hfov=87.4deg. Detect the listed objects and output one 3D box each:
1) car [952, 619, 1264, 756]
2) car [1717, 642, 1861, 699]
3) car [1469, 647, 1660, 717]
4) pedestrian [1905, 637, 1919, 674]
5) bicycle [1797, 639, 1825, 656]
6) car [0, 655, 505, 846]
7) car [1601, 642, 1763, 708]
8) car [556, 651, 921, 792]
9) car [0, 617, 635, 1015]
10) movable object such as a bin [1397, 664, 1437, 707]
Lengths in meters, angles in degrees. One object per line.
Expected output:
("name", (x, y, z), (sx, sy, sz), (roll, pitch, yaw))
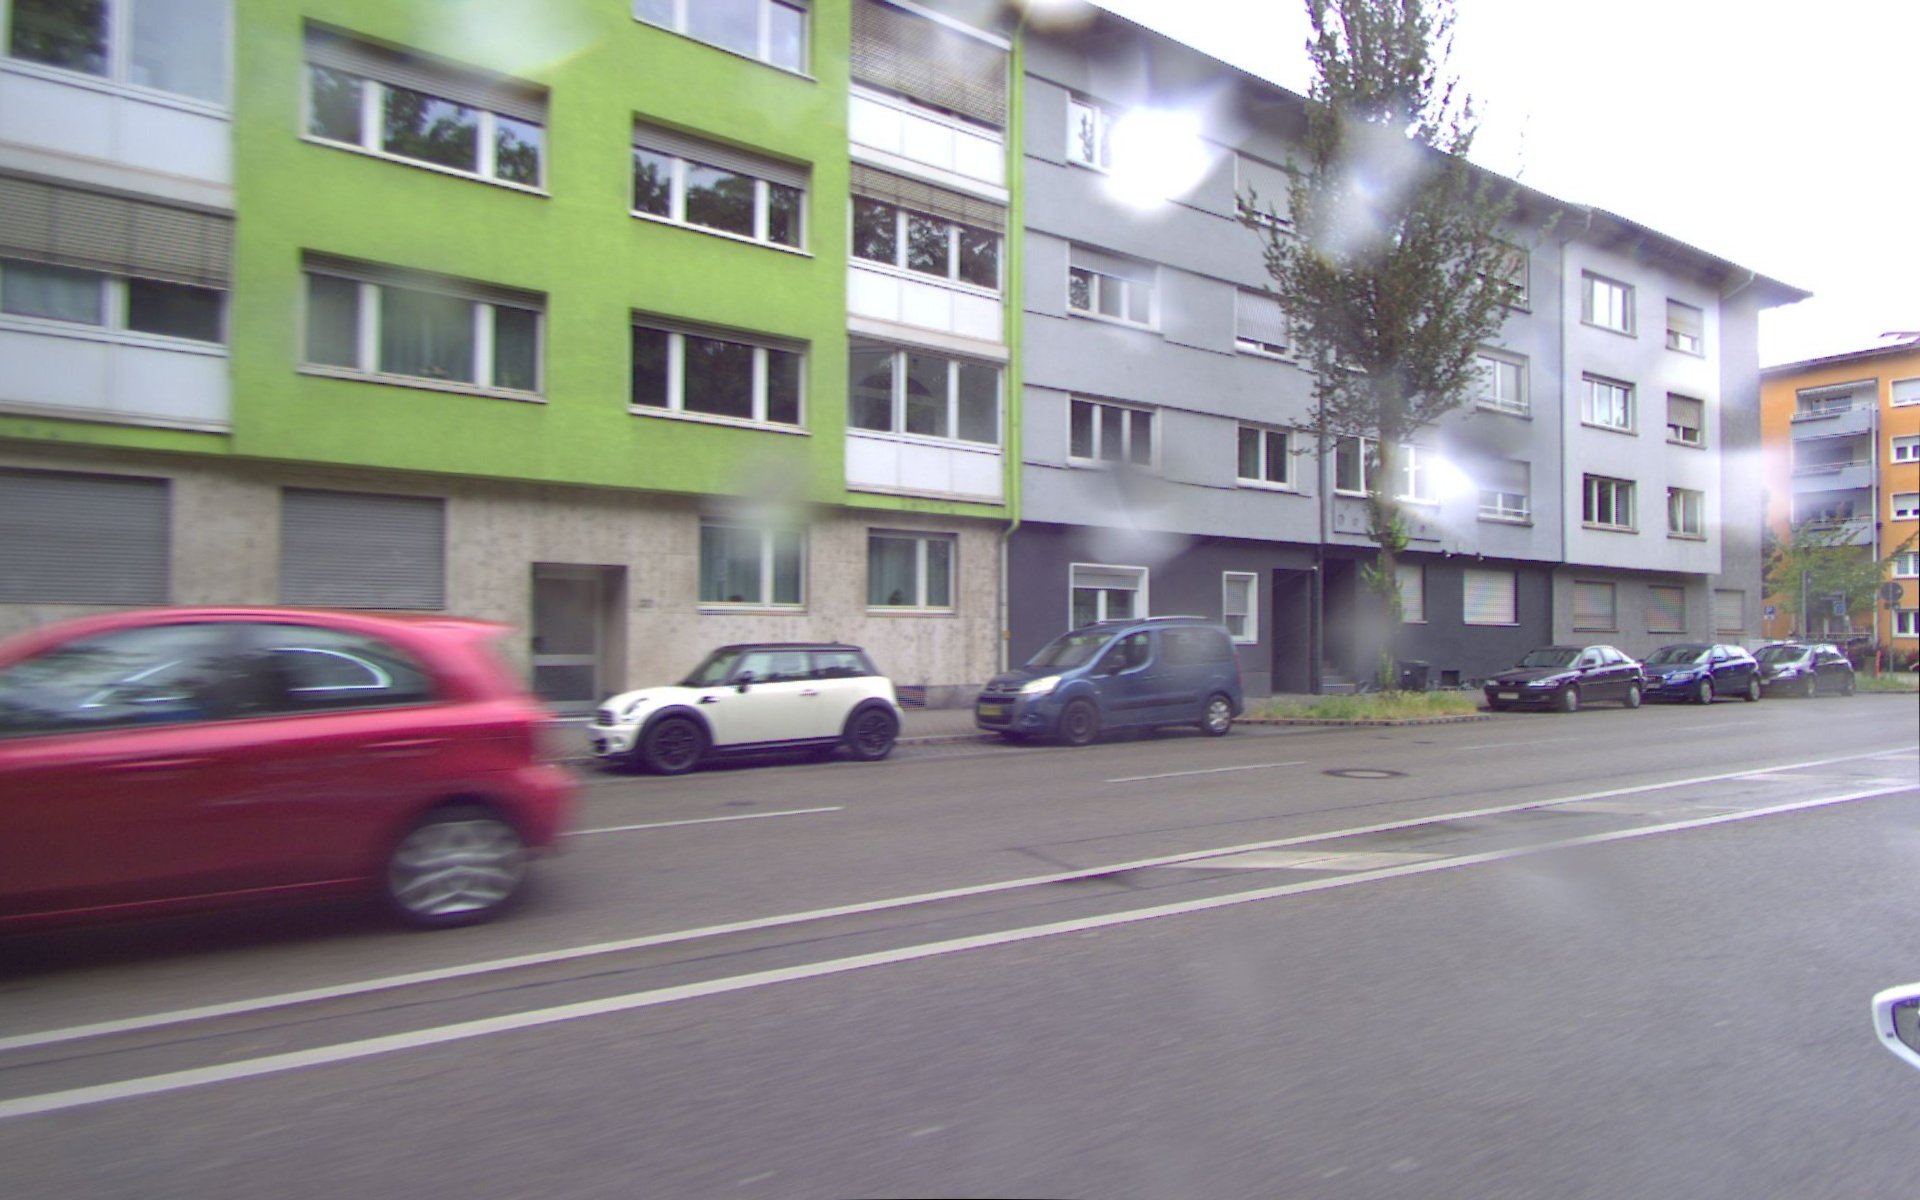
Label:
("car", (2.301, 1.249, 15.257), (4.549, 1.789, 1.881), (1, -4, -32))
("car", (22.935, 1.921, 27.767), (4.273, 1.444, 1.704), (1, -4, -31))
("car", (13.306, 1.765, 22.035), (4.528, 1.375, 1.680), (1, -5, -32))
("pedestrian", (42.470, 2.451, 44.532), (0.653, 1.625, 0.584), (1, -3, -29))
("bicycle", (38.082, 2.131, 44.949), (1.528, 0.759, 0.462), (1, -3, -29))
("car", (-6.780, 1.243, 9.085), (4.633, 1.390, 1.806), (1, -4, -35))
("car", (17.753, 1.815, 24.658), (4.227, 1.468, 1.673), (1, -5, -31))
("car", (-2.595, 1.352, 12.057), (3.957, 1.394, 1.671), (1, -4, -33))
("car", (-3.628, 0.861, 4.818), (3.640, 1.497, 1.697), (1, -3, -33))
("movable object such as a bin", (9.288, 1.727, 20.404), (0.603, 0.828, 0.467), (1, -3, -32))
